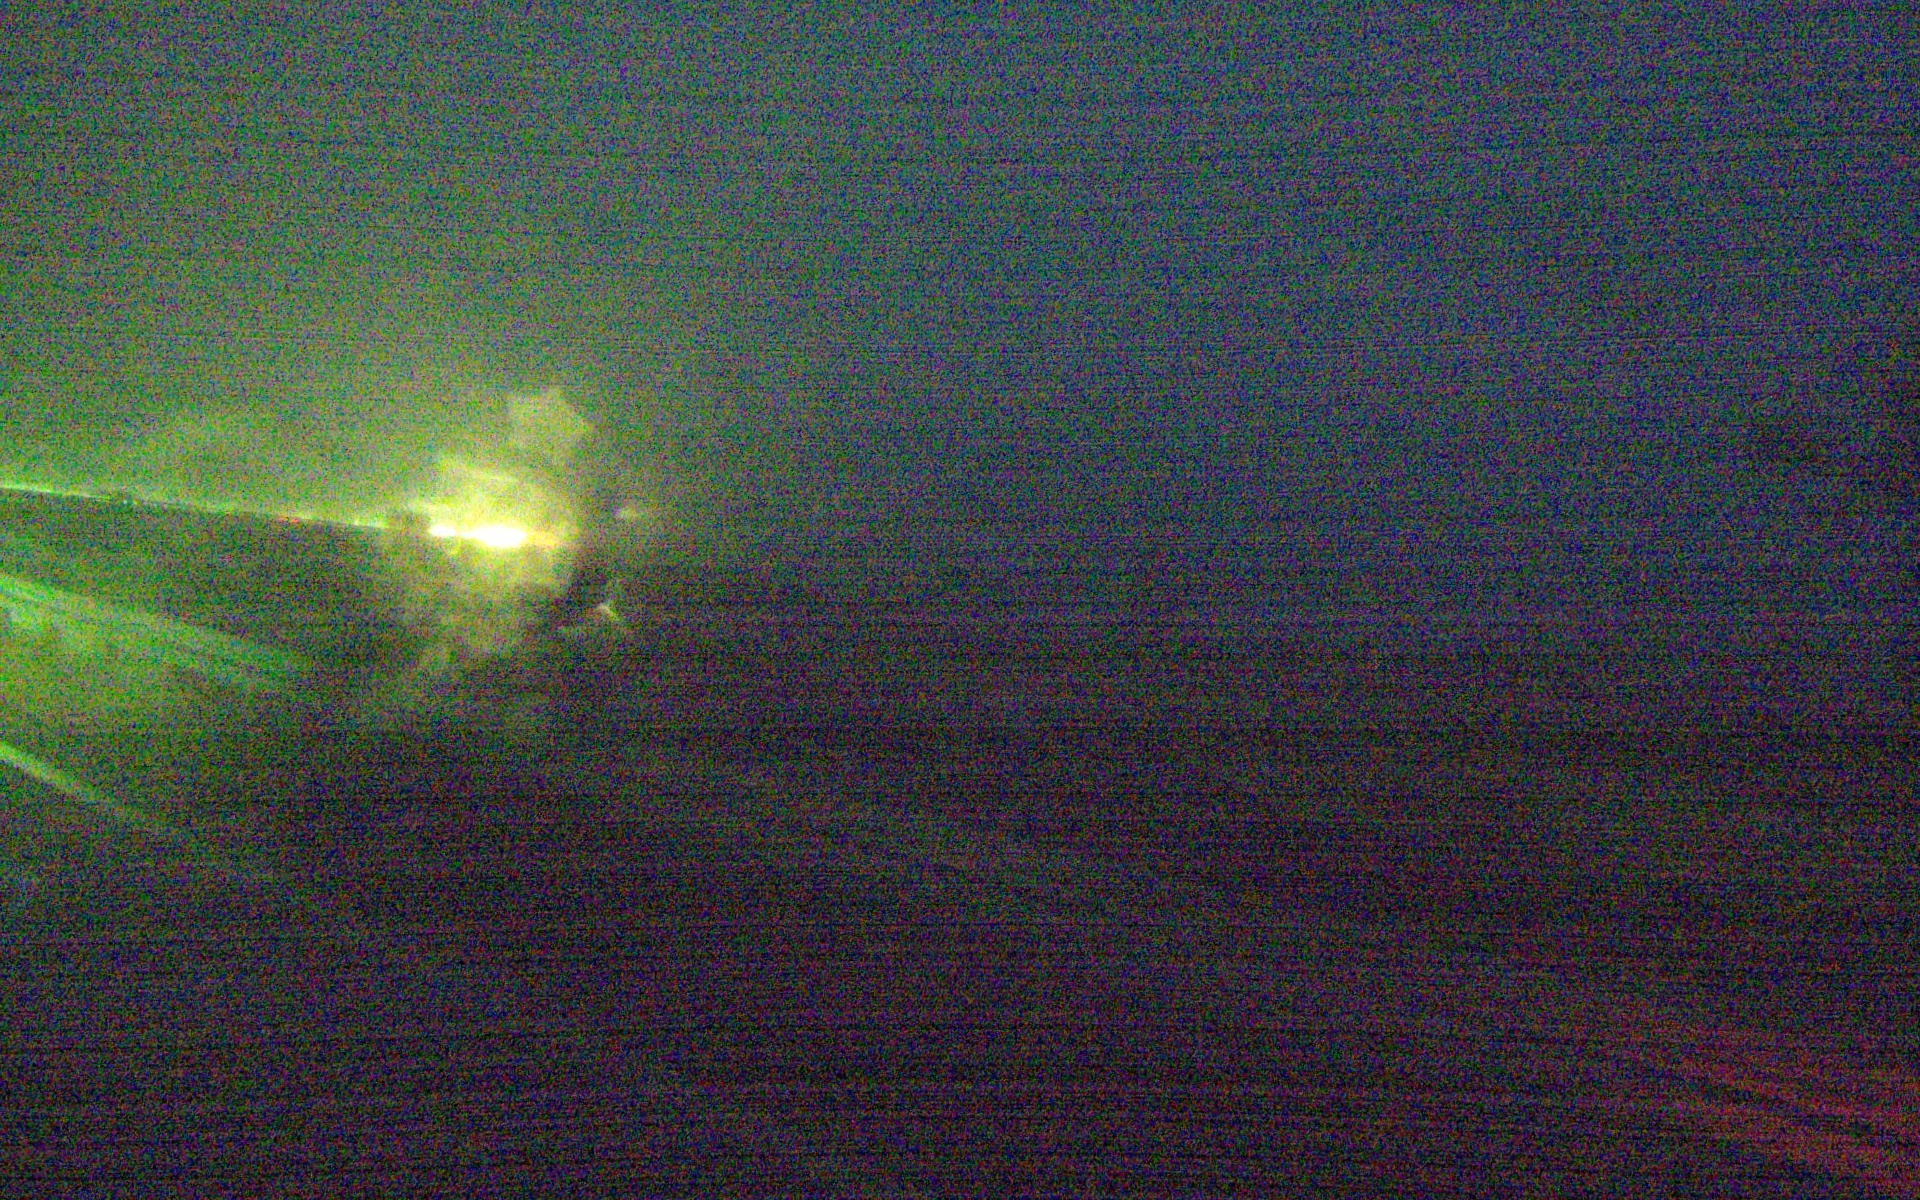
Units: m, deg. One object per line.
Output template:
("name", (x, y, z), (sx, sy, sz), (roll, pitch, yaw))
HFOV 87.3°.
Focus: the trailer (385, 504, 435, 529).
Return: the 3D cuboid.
("trailer", (-84.088, -12.642, 154.017), (2.652, 2.732, 12.827), (8, 0, -11))
